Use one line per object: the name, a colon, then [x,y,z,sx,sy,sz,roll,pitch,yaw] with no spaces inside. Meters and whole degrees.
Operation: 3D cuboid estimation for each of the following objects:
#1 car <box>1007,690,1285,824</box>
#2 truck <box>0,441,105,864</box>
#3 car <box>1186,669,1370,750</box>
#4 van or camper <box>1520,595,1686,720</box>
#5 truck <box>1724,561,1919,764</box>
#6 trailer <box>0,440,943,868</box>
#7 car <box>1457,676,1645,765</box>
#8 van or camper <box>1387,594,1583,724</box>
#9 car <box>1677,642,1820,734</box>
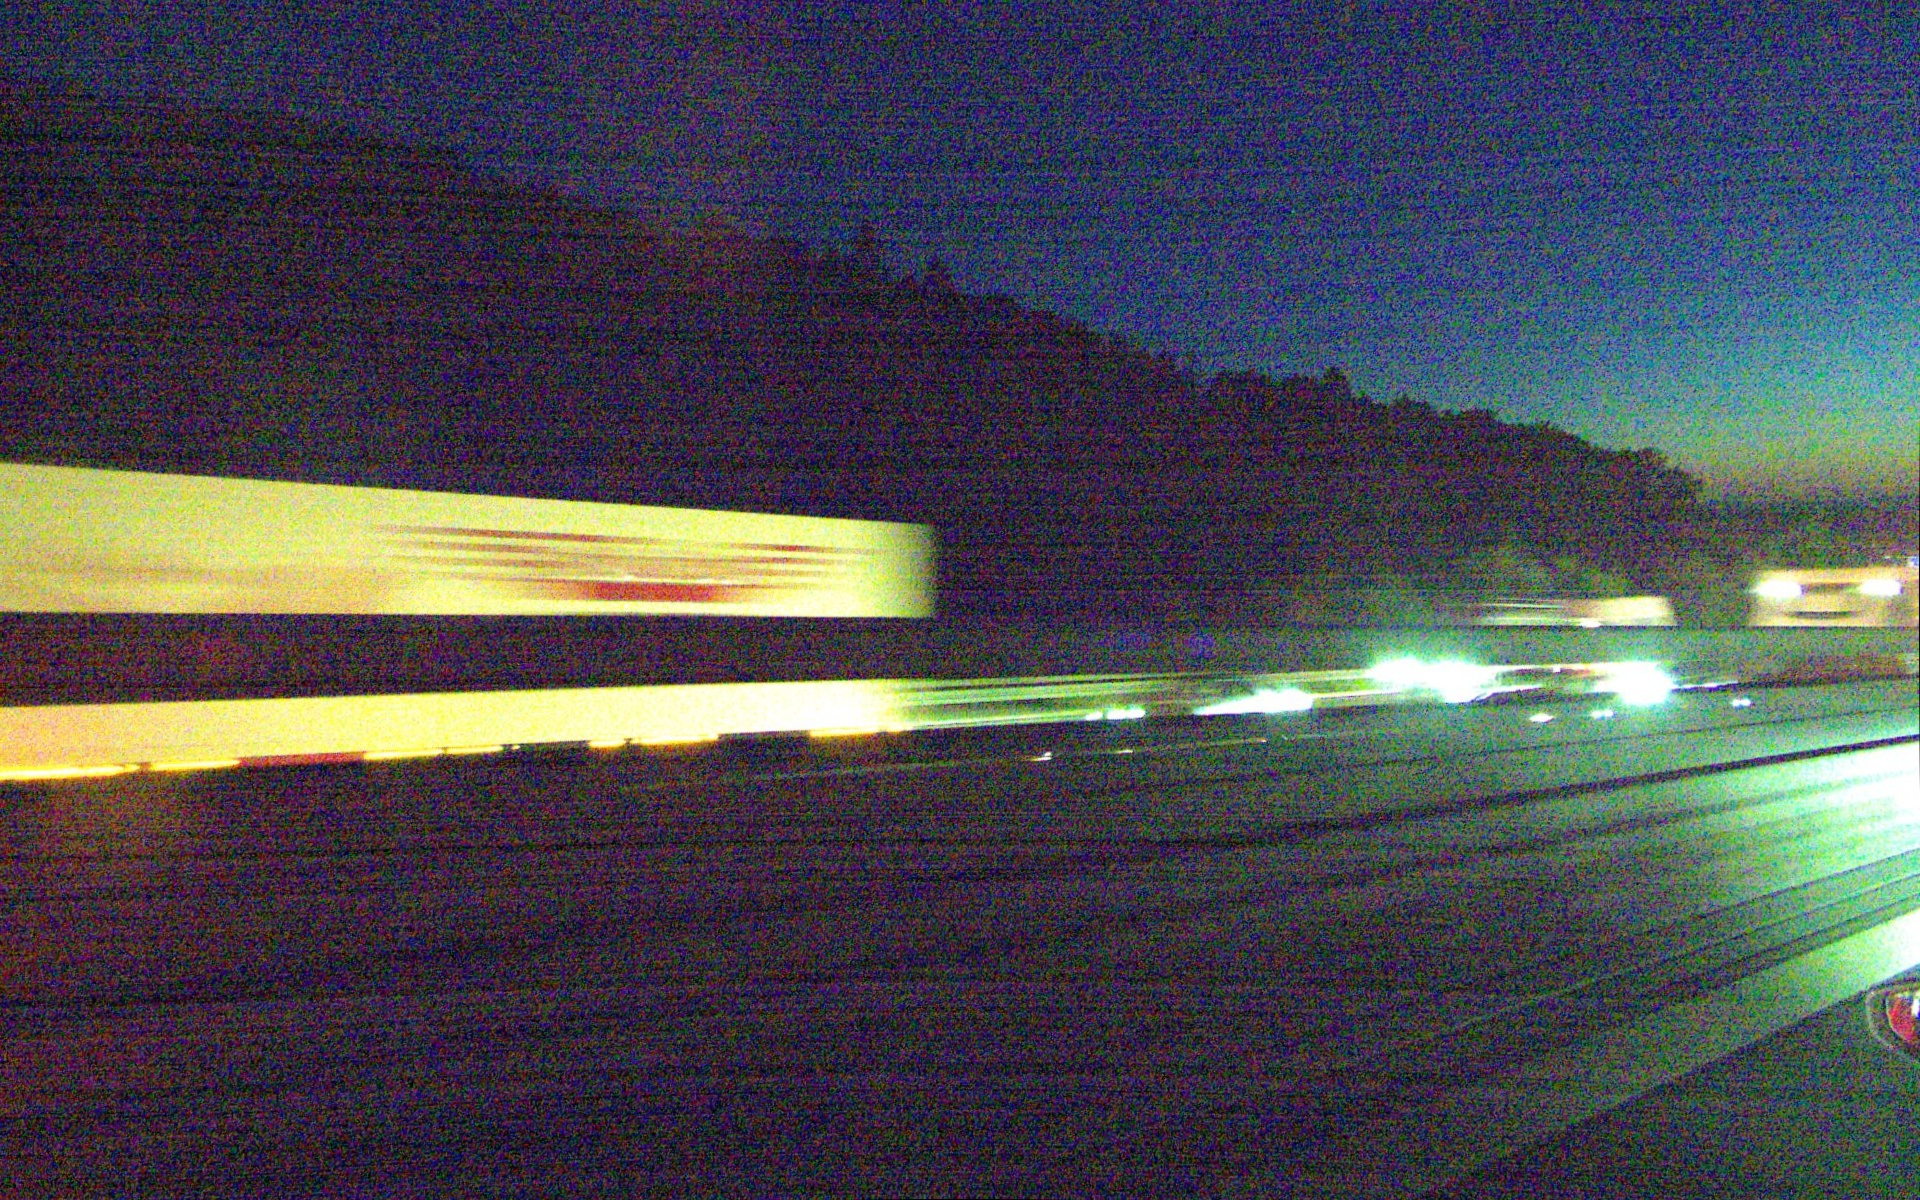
car: [2.747,2.160,14.581,3.955,1.461,1.592,1,-1,-32]
truck: [-13.084,0.525,10.112,6.210,4.279,3.402,1,-2,-31]
car: [6.829,2.275,21.481,3.955,1.461,1.592,1,-2,-32]
van or camper: [19.256,1.632,29.993,5.639,3.424,2.254,1,-1,-36]
truck: [19.644,1.187,21.345,8.456,3.639,2.639,1,0,-33]
trailer: [-6.561,0.662,13.910,12.682,4.297,3.419,1,-2,-31]
car: [11.863,2.327,20.097,4.094,1.461,1.591,1,-2,-33]
van or camper: [13.634,1.429,25.892,6.337,3.011,1.821,1,-1,-36]
car: [20.194,2.158,25.697,3.964,2.040,1.979,1,0,-38]
